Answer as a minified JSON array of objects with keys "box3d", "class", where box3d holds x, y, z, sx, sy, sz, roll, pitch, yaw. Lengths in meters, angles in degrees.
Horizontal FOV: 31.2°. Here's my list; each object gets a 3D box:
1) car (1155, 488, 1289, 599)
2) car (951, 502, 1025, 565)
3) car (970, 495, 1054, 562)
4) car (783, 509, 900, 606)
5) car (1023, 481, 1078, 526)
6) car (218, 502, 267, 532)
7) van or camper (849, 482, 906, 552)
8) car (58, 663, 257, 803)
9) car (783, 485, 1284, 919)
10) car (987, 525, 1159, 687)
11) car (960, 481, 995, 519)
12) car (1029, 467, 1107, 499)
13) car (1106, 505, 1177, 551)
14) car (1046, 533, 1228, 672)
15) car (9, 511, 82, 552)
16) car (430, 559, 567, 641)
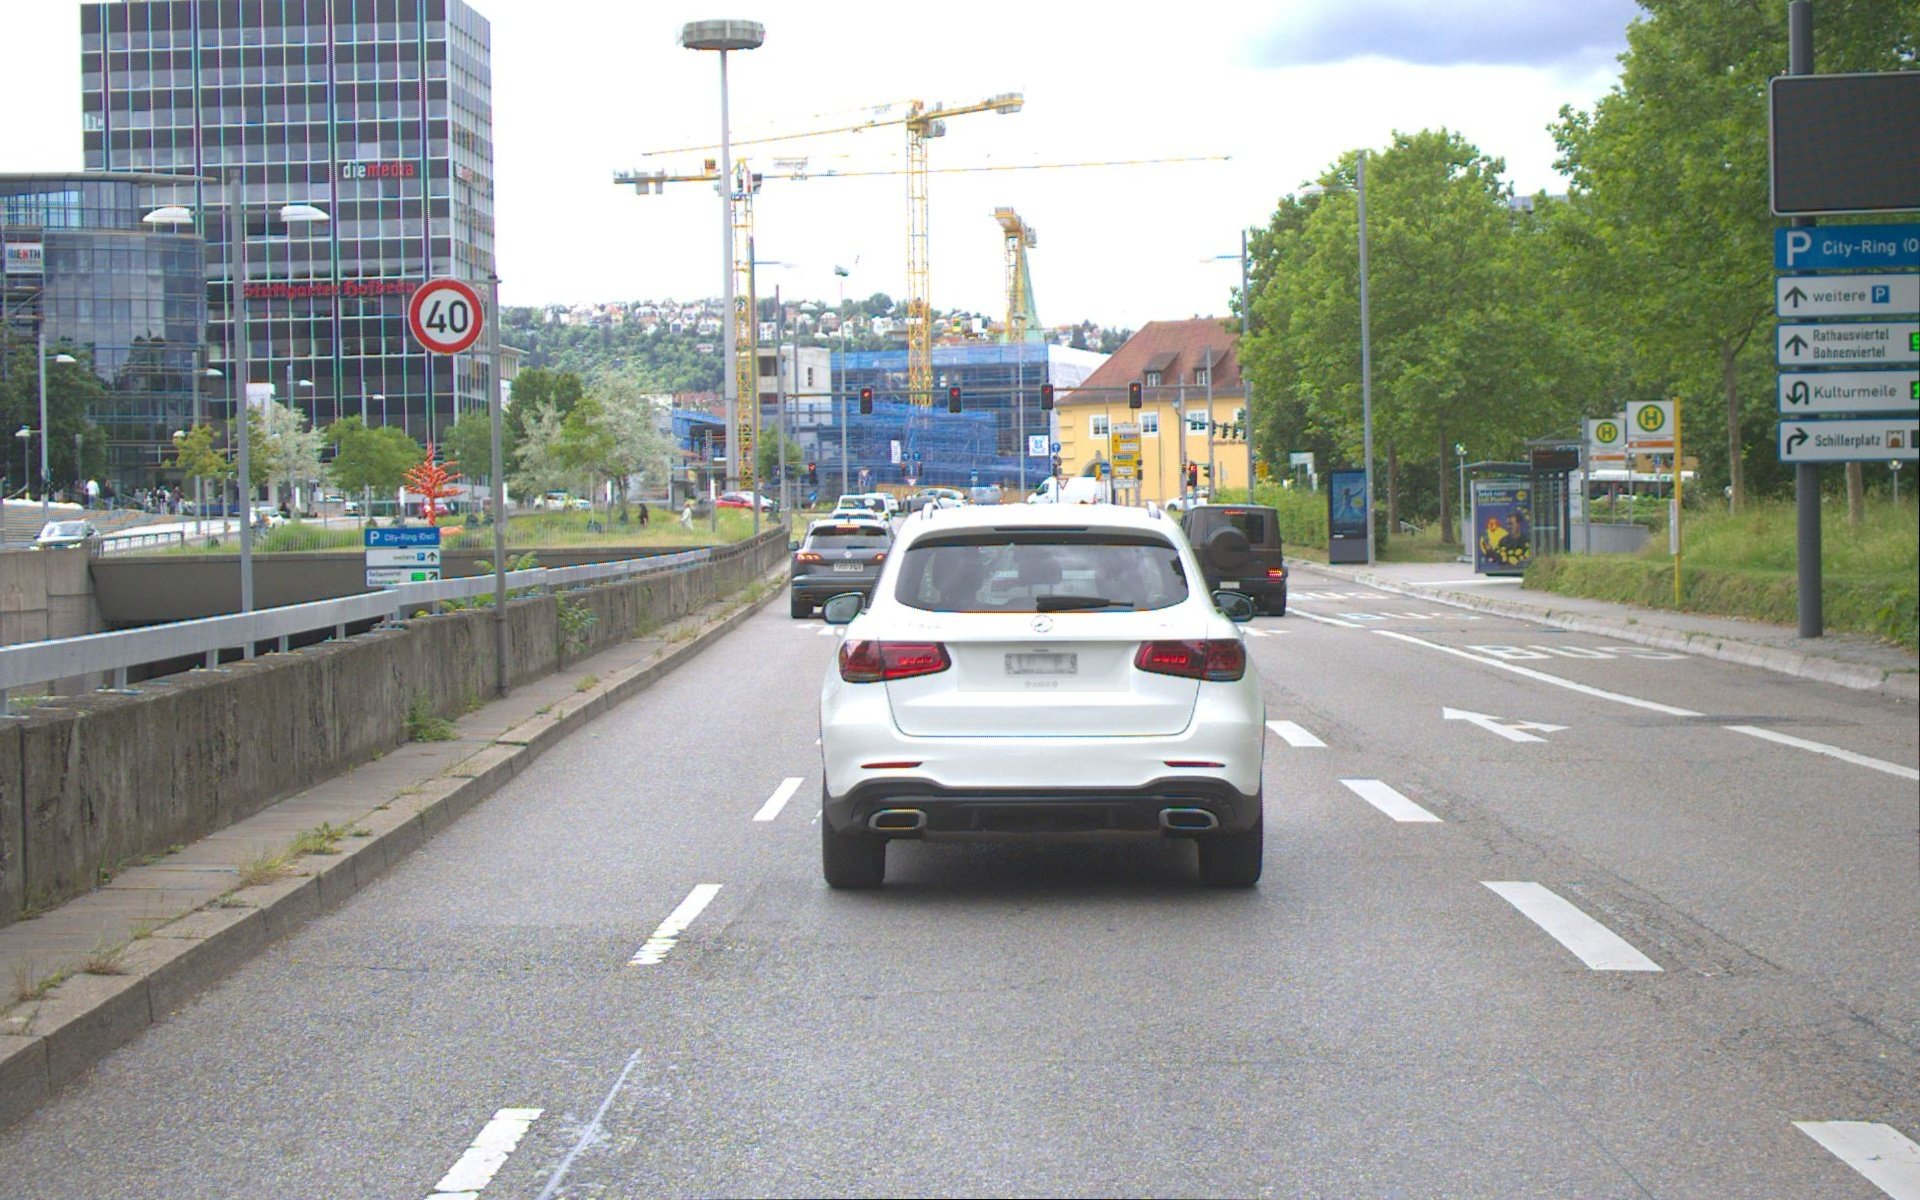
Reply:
[{"box3d":[4.724,-1.008,62.504,1.977,1.887,4.707,1,0,-1],"class":"car"},{"box3d":[0.809,-1.942,101.331,1.993,1.774,4.000,1,0,-2],"class":"car"},{"box3d":[1.330,-1.855,89.934,1.993,1.656,4.000,1,0,-2],"class":"car"},{"box3d":[-2.001,-0.747,58.713,1.922,1.596,4.001,0,1,-1],"class":"car"},{"box3d":[3.330,-3.541,126.946,1.719,1.579,4.001,1,1,-3],"class":"car"},{"box3d":[-36.450,-4.193,174.677,1.809,1.422,3.708,1,0,-2],"class":"car"},{"box3d":[-2.872,-2.867,119.269,1.922,2.312,4.000,0,0,-1],"class":"van or camper"},{"box3d":[-9.634,1.570,41.504,1.627,1.504,3.540,0,0,-1],"class":"car"},{"box3d":[0.263,0.380,15.435,1.940,1.678,4.000,-1,0,-1],"class":"car"},{"box3d":[1.172,0.037,37.251,1.672,1.622,4.000,1,1,0],"class":"car"},{"box3d":[0.983,-5.555,192.133,1.800,2.007,4.000,1,0,-2],"class":"car"},{"box3d":[7.406,-8.006,235.298,5.284,2.053,1.869,2,0,40],"class":"car"},{"box3d":[6.681,-2.629,126.836,1.993,1.612,4.001,1,0,-6],"class":"car"},{"box3d":[2.115,-0.006,42.138,1.922,1.596,4.001,0,1,-1],"class":"car"},{"box3d":[-31.654,-2.356,119.067,1.832,1.355,3.869,1,0,-6],"class":"car"},{"box3d":[-7.838,-0.026,58.688,1.719,1.288,4.000,1,1,1],"class":"car"}]
